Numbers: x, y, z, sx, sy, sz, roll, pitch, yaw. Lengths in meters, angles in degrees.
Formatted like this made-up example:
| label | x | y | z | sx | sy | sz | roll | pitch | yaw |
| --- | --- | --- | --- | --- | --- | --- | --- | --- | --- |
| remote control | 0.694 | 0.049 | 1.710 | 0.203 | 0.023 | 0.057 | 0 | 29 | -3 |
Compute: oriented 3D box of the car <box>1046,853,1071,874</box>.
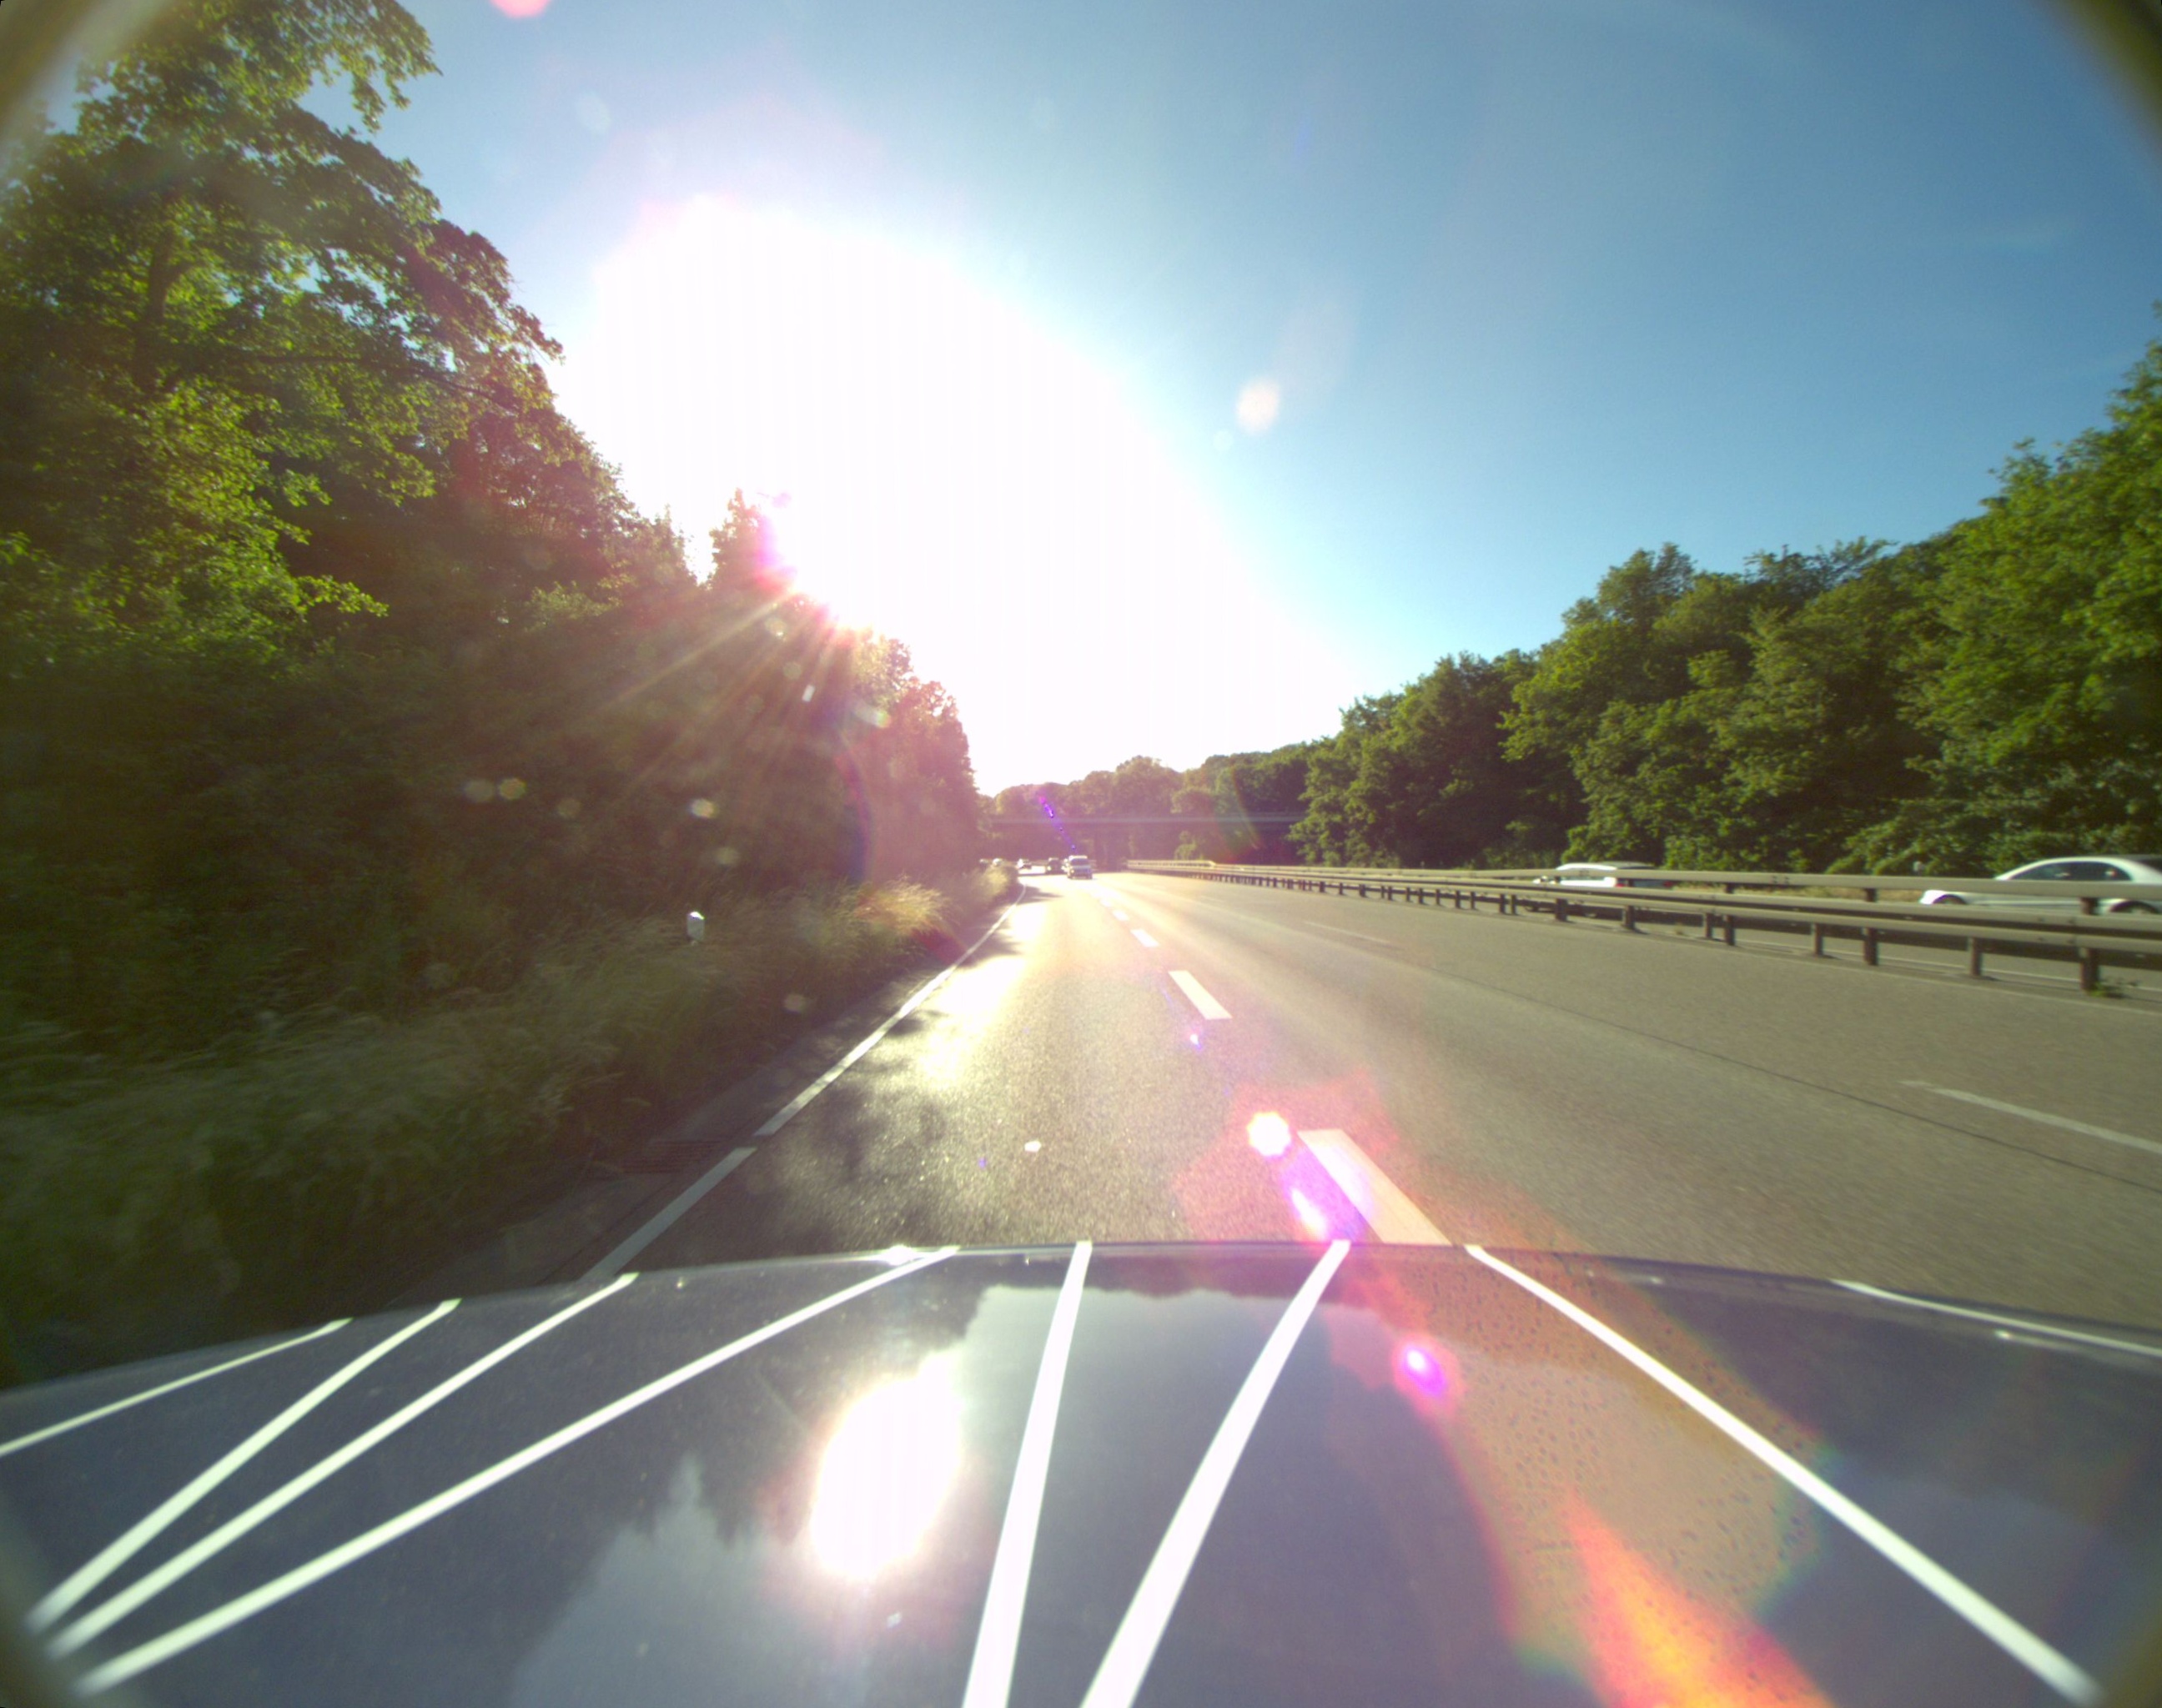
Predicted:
| label | x | y | z | sx | sy | sz | roll | pitch | yaw |
| --- | --- | --- | --- | --- | --- | --- | --- | --- | --- |
| car | -2.511 | 0.960 | 81.899 | 2.258 | 1.843 | 5.136 | -1 | 3 | -6 |

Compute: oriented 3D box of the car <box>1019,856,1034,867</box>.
| label | x | y | z | sx | sy | sz | roll | pitch | yaw |
| --- | --- | --- | --- | --- | --- | --- | --- | --- | --- |
| car | -8.275 | 1.065 | 114.993 | 1.936 | 1.499 | 5.081 | -1 | 1 | -9 |

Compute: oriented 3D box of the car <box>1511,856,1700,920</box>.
| label | x | y | z | sx | sy | sz | roll | pitch | yaw |
| --- | --- | --- | --- | --- | --- | --- | --- | --- | --- |
| car | 14.311 | 0.848 | 21.120 | 1.999 | 1.504 | 4.421 | -2 | 0 | -4 |

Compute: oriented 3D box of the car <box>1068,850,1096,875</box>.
| label | x | y | z | sx | sy | sz | roll | pitch | yaw |
| --- | --- | --- | --- | --- | --- | --- | --- | --- | --- |
| car | 0.030 | 0.642 | 60.813 | 1.800 | 1.797 | 4.830 | -2 | 1 | -5 |

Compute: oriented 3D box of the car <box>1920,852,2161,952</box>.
| label | x | y | z | sx | sy | sz | roll | pitch | yaw |
| --- | --- | --- | --- | --- | --- | --- | --- | --- | --- |
| car | 18.897 | 0.797 | 13.967 | 1.999 | 1.640 | 4.422 | -1 | 0 | -2 |
